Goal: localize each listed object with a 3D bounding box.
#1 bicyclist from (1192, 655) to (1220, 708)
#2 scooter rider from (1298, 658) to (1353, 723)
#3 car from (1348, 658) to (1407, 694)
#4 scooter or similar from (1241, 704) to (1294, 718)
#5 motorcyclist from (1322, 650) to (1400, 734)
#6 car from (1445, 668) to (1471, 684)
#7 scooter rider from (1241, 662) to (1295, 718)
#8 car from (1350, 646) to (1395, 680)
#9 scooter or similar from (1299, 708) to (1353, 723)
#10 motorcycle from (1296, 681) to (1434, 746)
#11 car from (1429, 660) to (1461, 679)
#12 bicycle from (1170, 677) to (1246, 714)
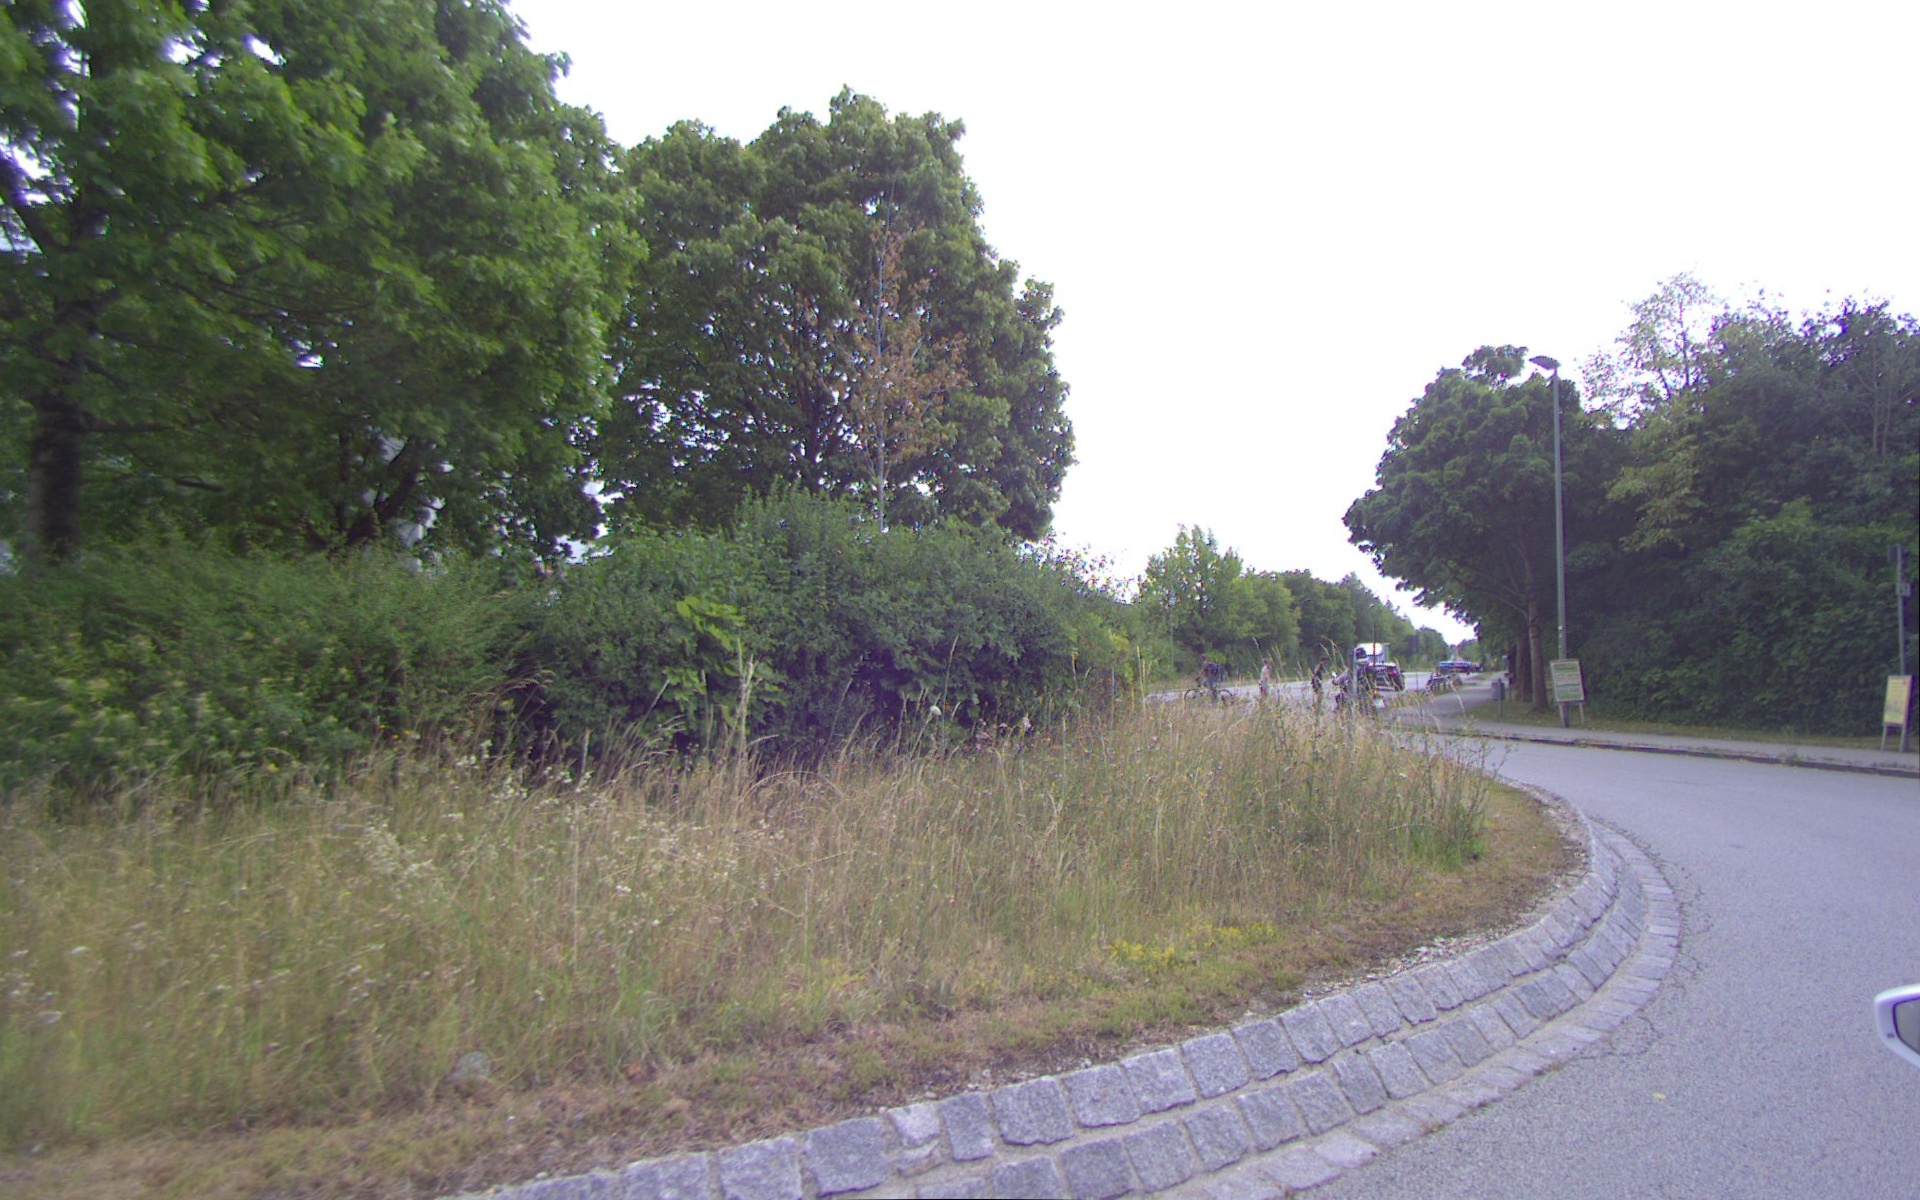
[{"bbox_3d":[8.366,2.778,34.187,0.900,1.745,0.659,1,-3,13],"label":"bicyclist"},{"bbox_3d":[11.295,2.798,31.095,1.107,1.934,1.225,-1,-4,-7],"label":"scooter rider"},{"bbox_3d":[24.022,4.347,57.635,2.476,1.972,5.703,-2,-4,29],"label":"car"},{"bbox_3d":[9.403,3.392,30.741,1.206,0.368,1.098,1,-4,-10],"label":"scooter or similar"},{"bbox_3d":[8.152,1.842,20.459,0.854,1.644,1.181,2,-4,-31],"label":"motorcyclist"},{"bbox_3d":[62.425,9.486,125.880,2.477,1.972,5.701,-2,-4,31],"label":"car"},{"bbox_3d":[9.419,2.742,30.774,1.222,1.694,1.098,1,-3,-10],"label":"scooter rider"},{"bbox_3d":[40.946,6.238,99.492,3.125,3.246,7.621,-2,-4,30],"label":"car"},{"bbox_3d":[11.311,3.564,31.050,1.107,0.385,1.225,-1,-4,-8],"label":"scooter or similar"},{"bbox_3d":[8.161,2.265,20.414,0.889,1.173,2.600,2,-4,-30],"label":"motorcycle"},{"bbox_3d":[50.443,7.212,104.423,2.477,1.972,5.701,-2,-4,31],"label":"car"},{"bbox_3d":[8.418,3.233,34.186,2.456,1.103,0.772,1,-3,13],"label":"bicycle"}]
